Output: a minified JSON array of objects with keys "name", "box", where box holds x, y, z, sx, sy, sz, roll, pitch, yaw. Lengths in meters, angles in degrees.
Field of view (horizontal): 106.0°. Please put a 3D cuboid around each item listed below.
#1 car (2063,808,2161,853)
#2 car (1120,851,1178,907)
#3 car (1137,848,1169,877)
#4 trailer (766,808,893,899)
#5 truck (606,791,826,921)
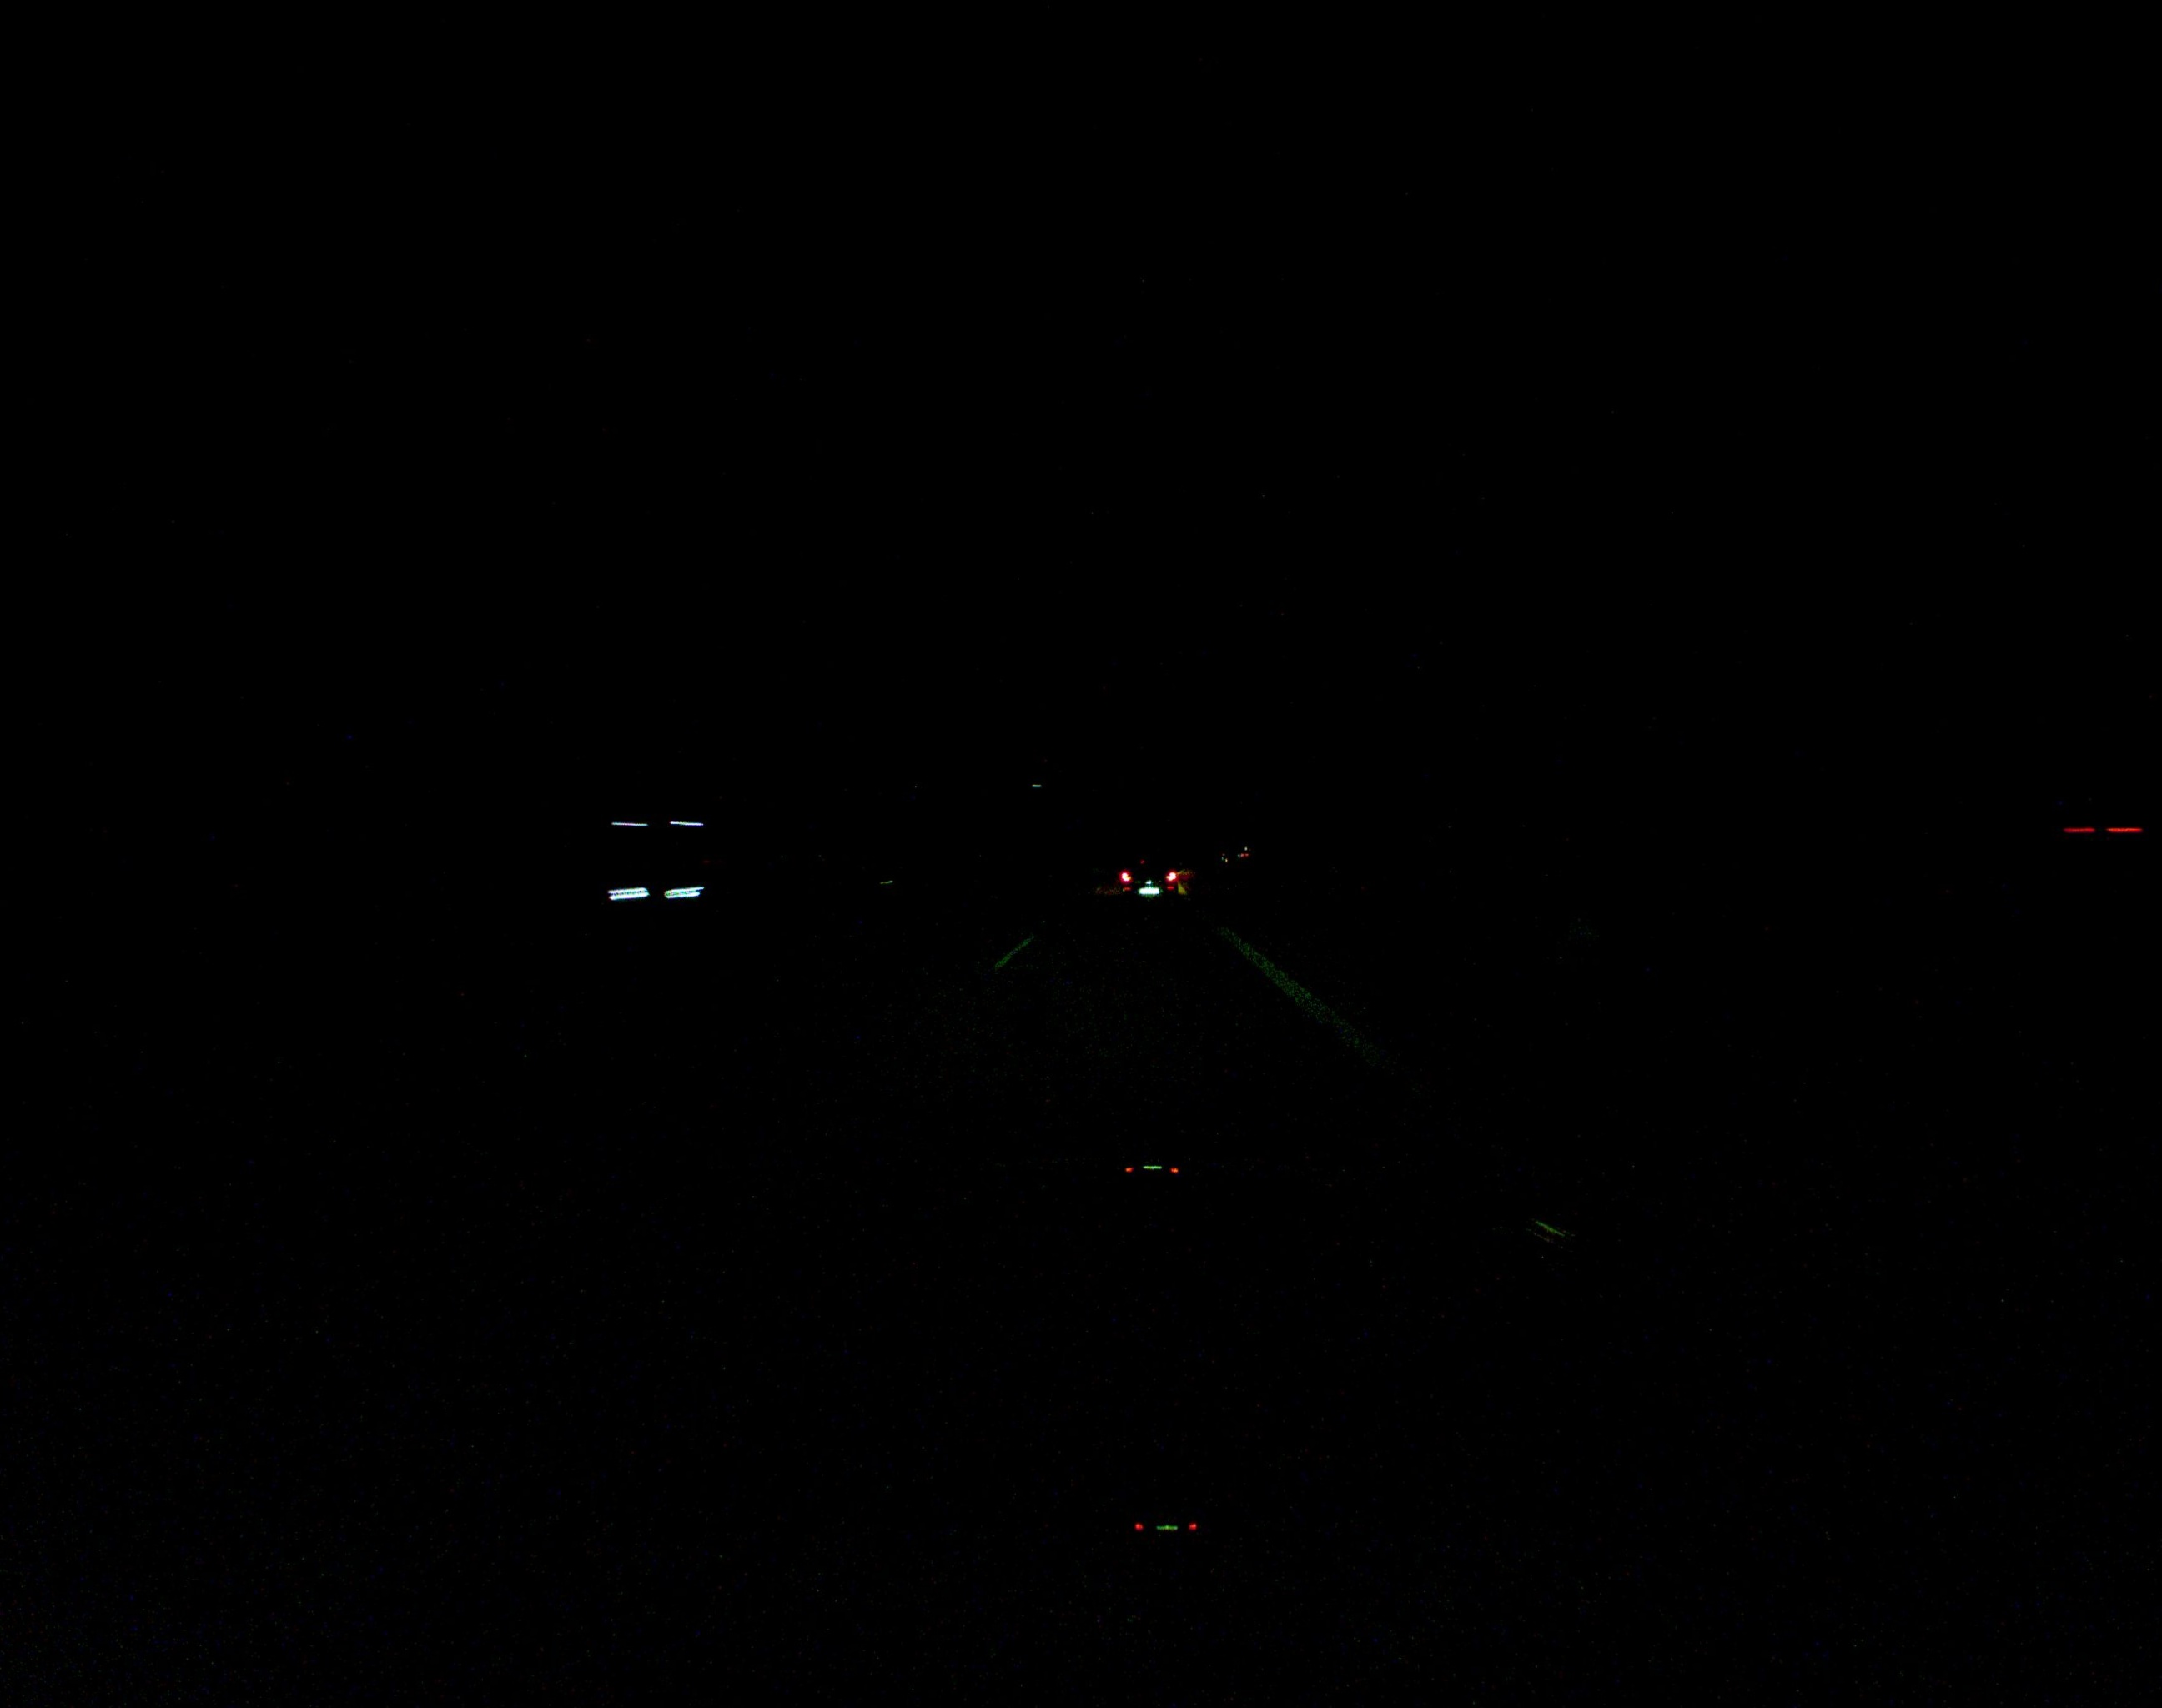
[{"name":"car","box":[44.931,-1.005,34.936,4.256,1.816,1.929,-2,0,-14]},{"name":"car","box":[1.984,0.681,24.381,1.581,1.508,4.004,0,0,3]},{"name":"car","box":[4.530,0.533,51.521,1.898,1.698,4.005,-2,0,4]},{"name":"trailer","box":[-12.316,-0.045,40.993,2.704,3.956,9.060,-2,0,5]},{"name":"truck","box":[-13.294,0.048,31.245,2.668,4.044,10.669,-2,0,5]}]
